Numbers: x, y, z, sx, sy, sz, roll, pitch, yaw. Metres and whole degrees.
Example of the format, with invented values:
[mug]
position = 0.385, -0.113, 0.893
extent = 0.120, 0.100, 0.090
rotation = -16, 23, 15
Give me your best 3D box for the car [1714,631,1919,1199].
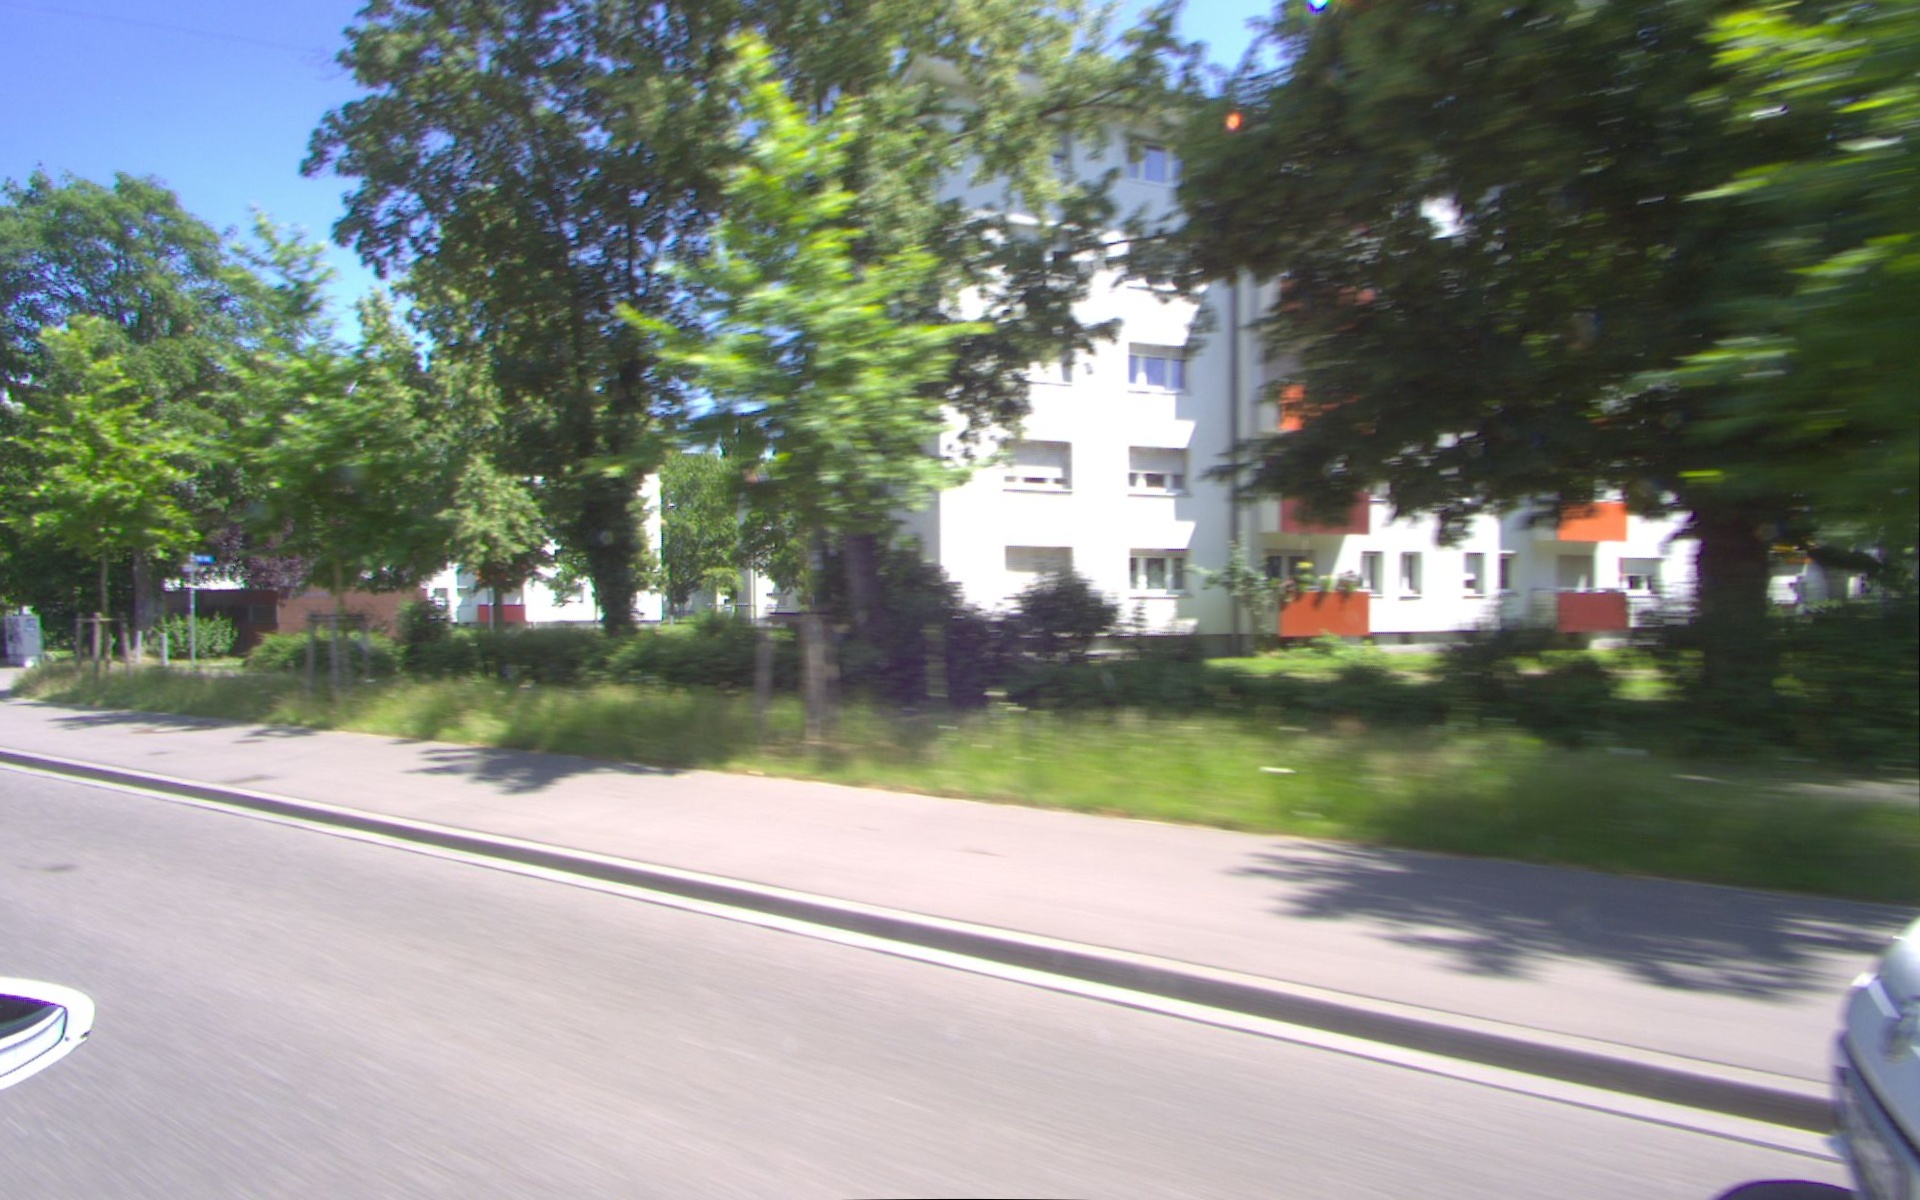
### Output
[car]
position = 3.392, 0.791, 1.203
extent = 3.798, 1.468, 1.657
rotation = 0, -1, 31
